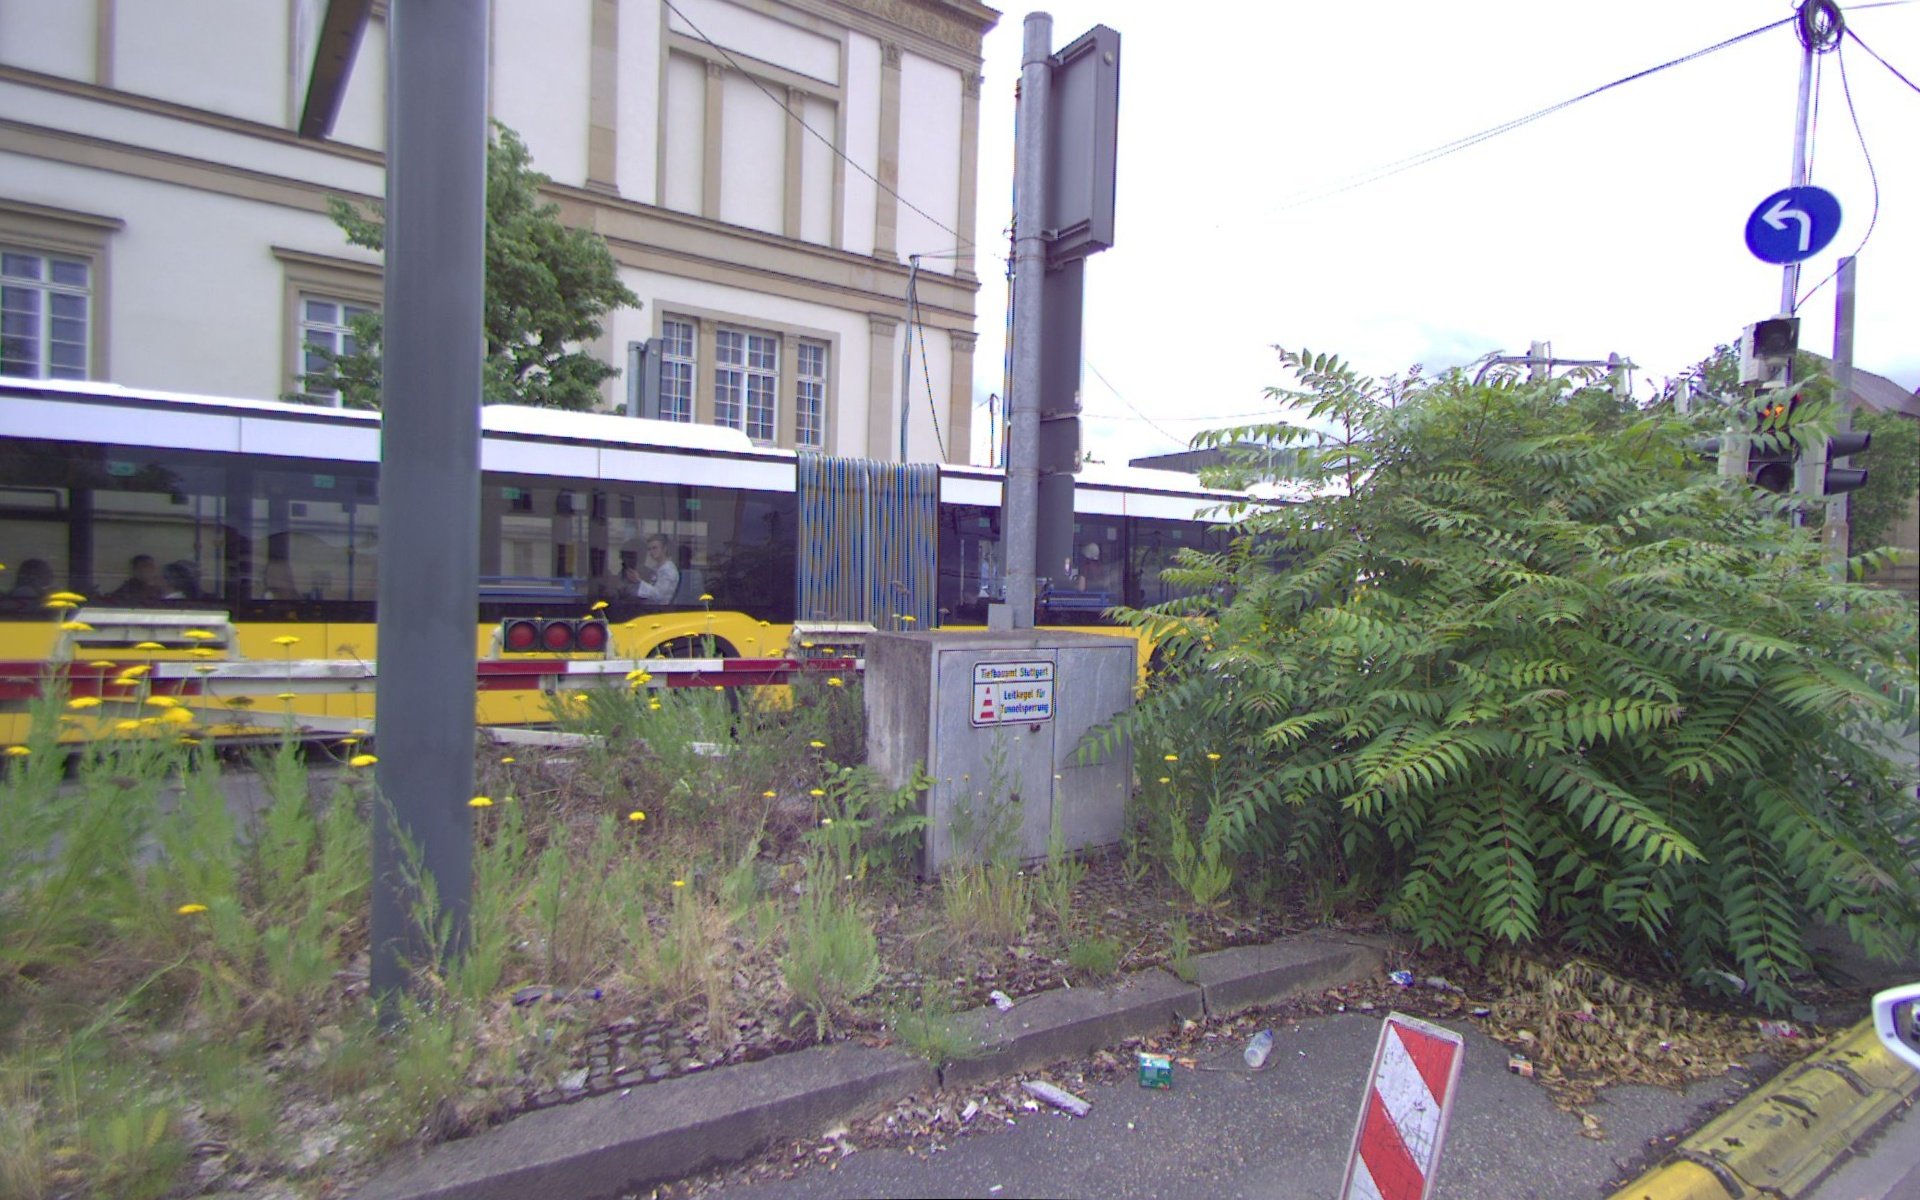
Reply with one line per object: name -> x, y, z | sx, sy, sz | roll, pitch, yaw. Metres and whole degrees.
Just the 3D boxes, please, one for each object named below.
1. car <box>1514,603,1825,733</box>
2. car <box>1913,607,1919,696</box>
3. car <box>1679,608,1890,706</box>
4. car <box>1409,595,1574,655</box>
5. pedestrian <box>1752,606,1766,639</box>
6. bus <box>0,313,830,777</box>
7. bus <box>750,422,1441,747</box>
car -> 9.780, 0.837, 13.770 | 4.393, 1.492, 1.868 | 1, 1, -31
car -> 20.556, 1.027, 19.546 | 4.395, 1.692, 1.867 | 1, 1, -32
car -> 14.481, 0.961, 17.583 | 4.244, 1.533, 1.696 | 2, -2, -34
car -> 17.118, 0.750, 32.477 | 1.986, 1.698, 4.271 | 1, 1, -43
pedestrian -> 49.792, 1.404, 62.605 | 0.516, 2.040, 0.428 | 2, 1, 17
bus -> -6.168, -0.373, 8.659 | 9.628, 3.156, 2.833 | 1, 1, -29
bus -> 2.072, -0.085, 13.173 | 9.008, 3.156, 2.834 | 1, 1, -28
